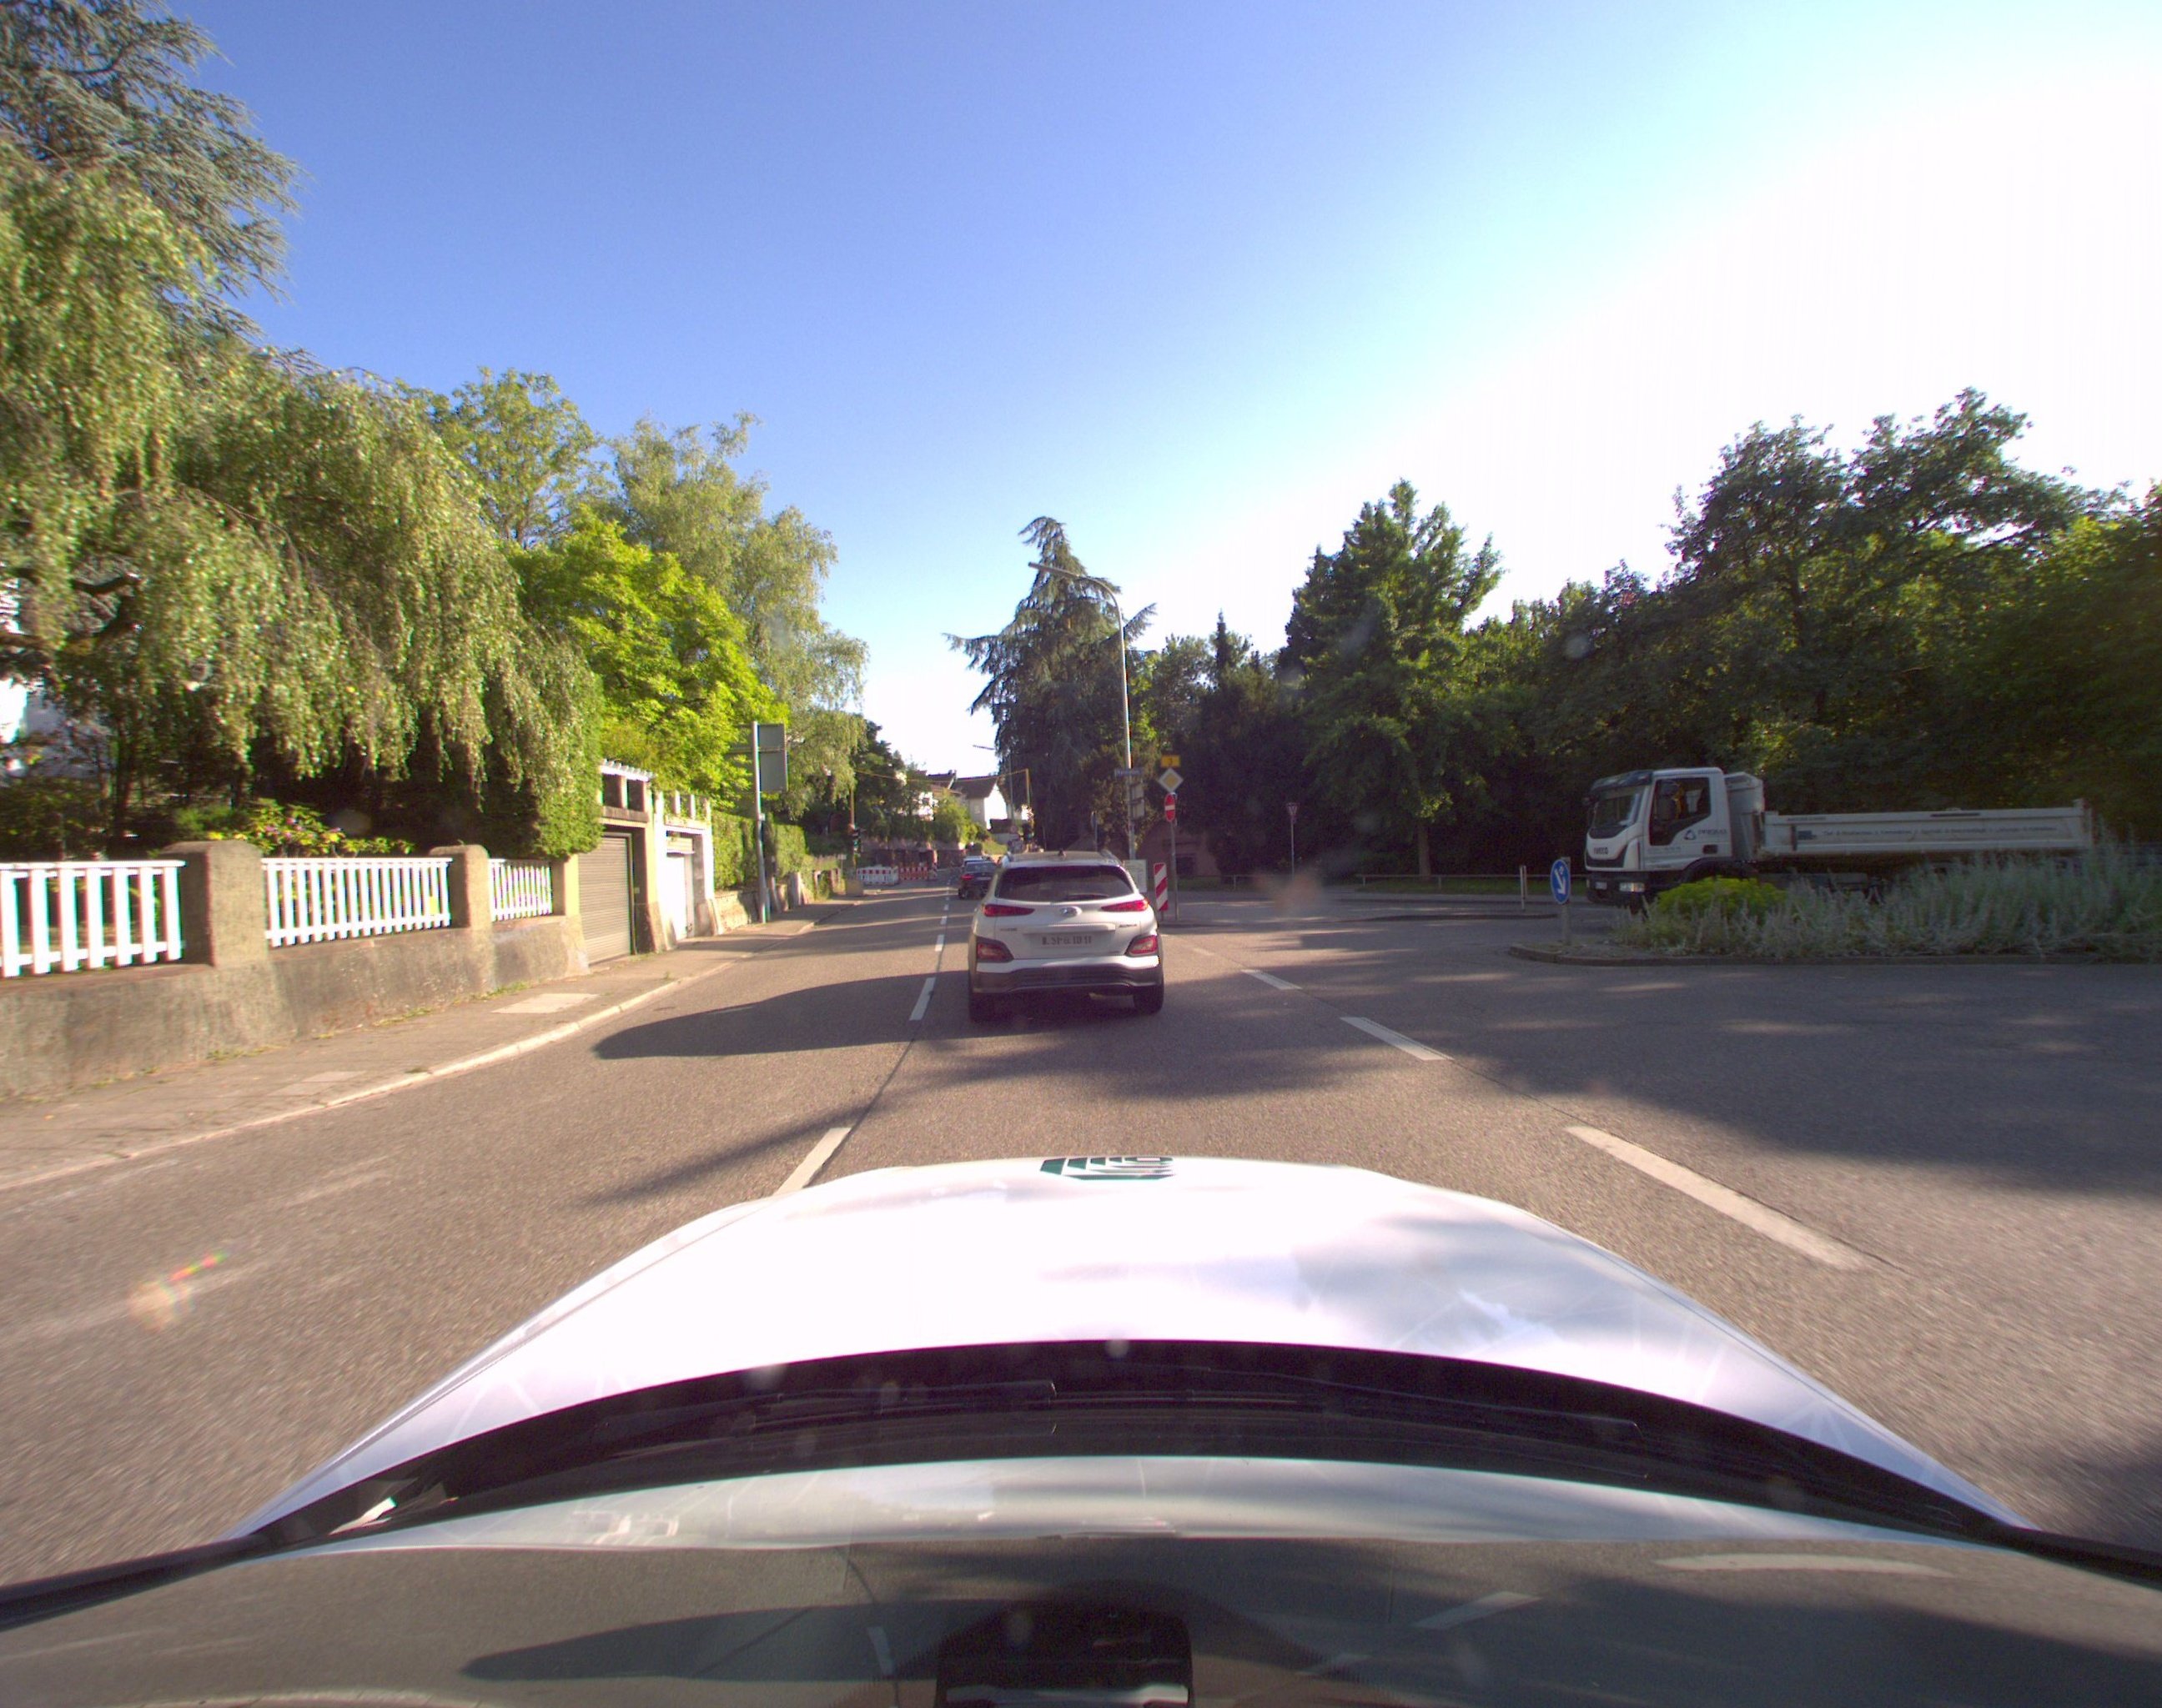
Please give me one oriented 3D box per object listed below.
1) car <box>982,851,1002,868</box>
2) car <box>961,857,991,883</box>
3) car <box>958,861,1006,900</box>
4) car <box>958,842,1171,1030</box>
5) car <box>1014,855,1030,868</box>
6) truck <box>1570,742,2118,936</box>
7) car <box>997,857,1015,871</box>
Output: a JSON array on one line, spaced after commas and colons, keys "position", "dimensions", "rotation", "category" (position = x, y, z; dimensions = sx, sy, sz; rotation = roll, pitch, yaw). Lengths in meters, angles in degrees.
[{"position": [-9.151, 0.526, 83.970], "dimensions": [1.828, 1.740, 3.994], "rotation": [-1, 0, -4], "category": "car"}, {"position": [-6.790, 1.012, 52.592], "dimensions": [1.805, 1.537, 3.988], "rotation": [-1, 0, -9], "category": "car"}, {"position": [-4.040, 1.010, 32.713], "dimensions": [1.708, 1.434, 4.350], "rotation": [-1, 0, -10], "category": "car"}, {"position": [-0.299, 0.695, 8.998], "dimensions": [1.817, 1.574, 3.993], "rotation": [-1, 0, -5], "category": "car"}, {"position": [-8.344, 1.033, 114.541], "dimensions": [1.825, 1.662, 4.001], "rotation": [-1, 0, 1], "category": "car"}, {"position": [12.518, -0.183, 14.059], "dimensions": [6.540, 2.895, 2.442], "rotation": [-1, 0, 13], "category": "truck"}, {"position": [-9.184, 1.264, 100.247], "dimensions": [1.826, 1.662, 3.998], "rotation": [-1, 0, -1], "category": "car"}]
